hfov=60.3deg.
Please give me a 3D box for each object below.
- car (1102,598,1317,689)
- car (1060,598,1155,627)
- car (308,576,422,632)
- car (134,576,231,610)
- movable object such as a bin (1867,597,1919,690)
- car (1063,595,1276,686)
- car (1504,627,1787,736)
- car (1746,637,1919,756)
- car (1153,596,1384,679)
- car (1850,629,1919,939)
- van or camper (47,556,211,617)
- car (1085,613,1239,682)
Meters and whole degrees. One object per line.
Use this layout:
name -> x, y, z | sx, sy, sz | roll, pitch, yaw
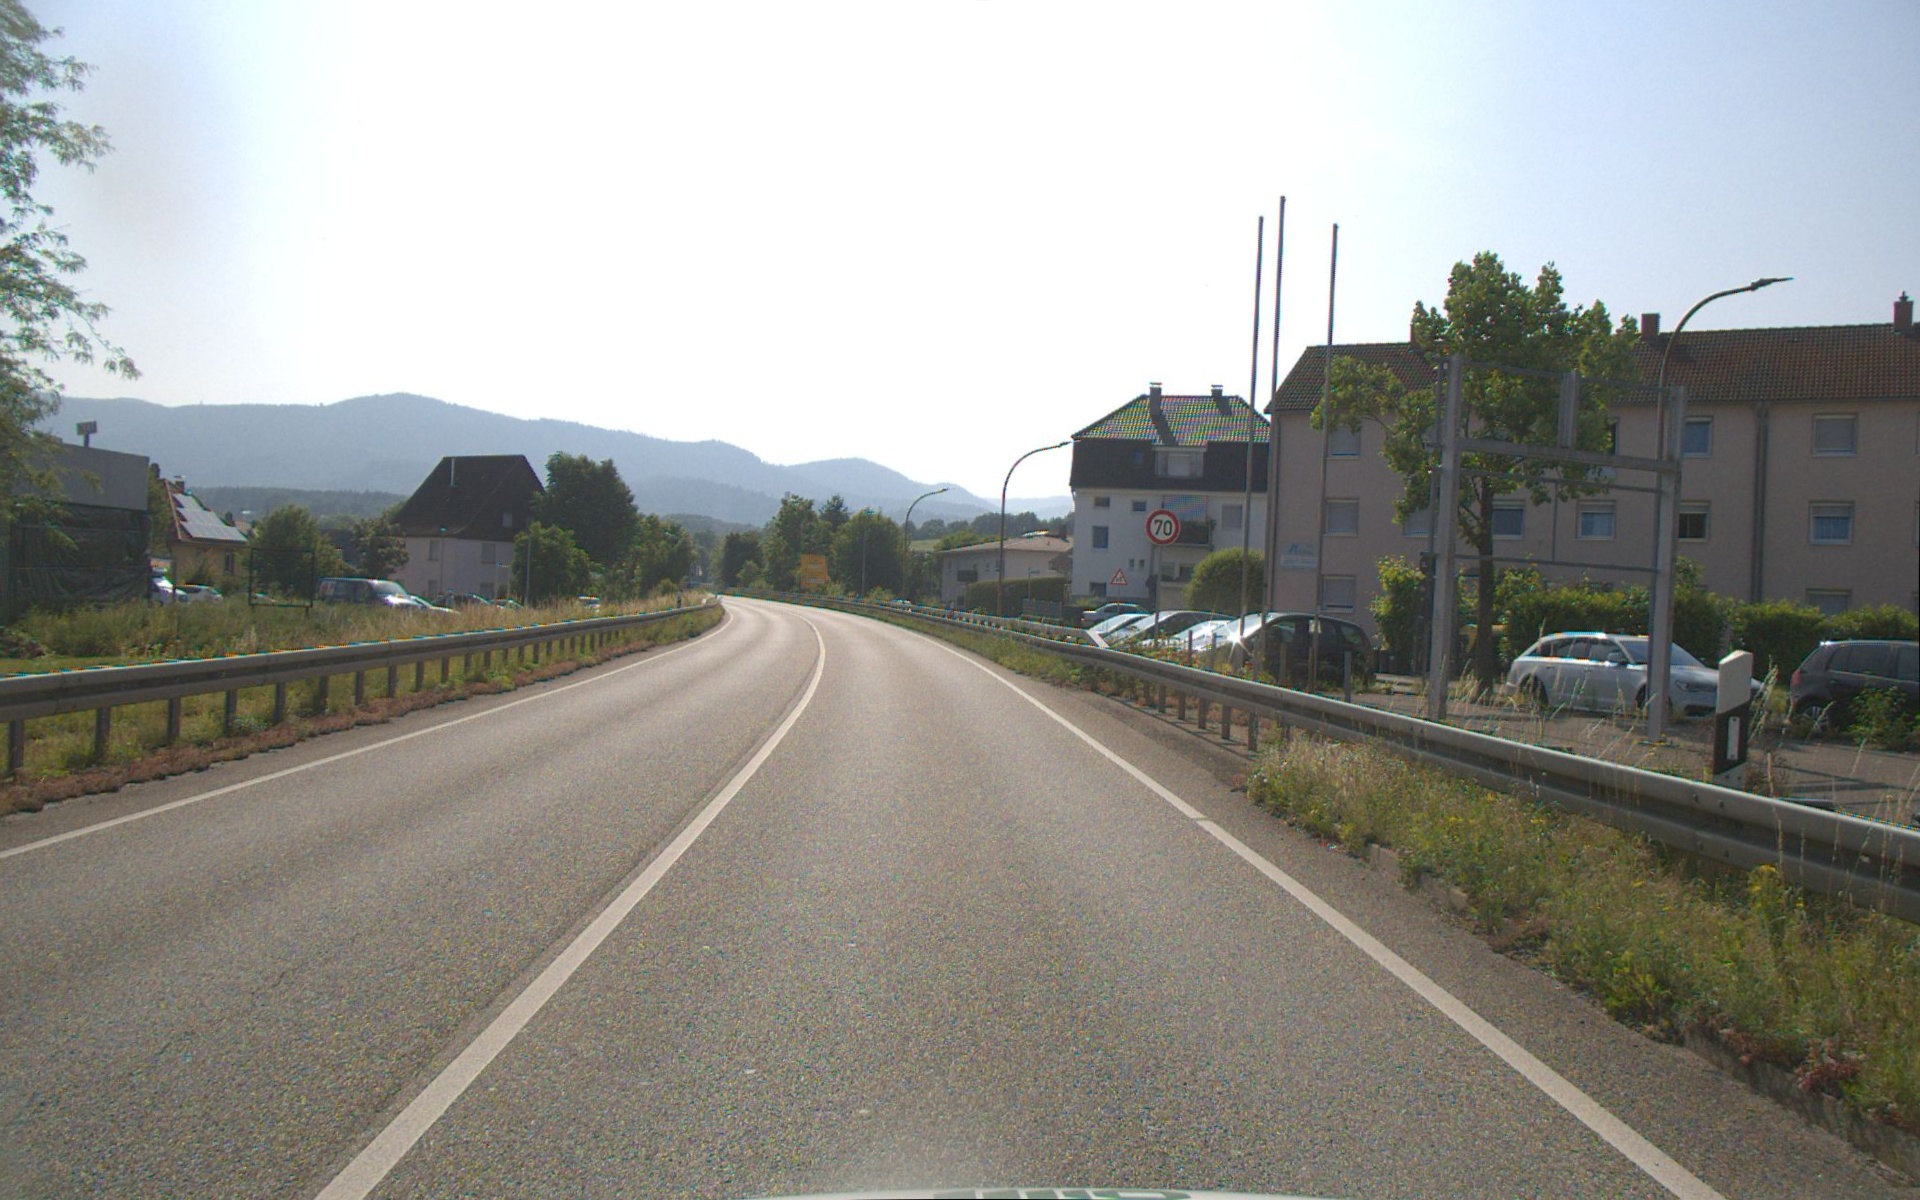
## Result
car -> 5.087, 0.883, 33.869 | 3.919, 1.474, 1.759 | 5, -1, -14
car -> 7.440, 0.619, 83.350 | 4.501, 1.372, 1.755 | 0, 1, 21
car -> -23.339, 0.130, 64.796 | 4.814, 2.049, 1.990 | 1, 0, 40
car -> -43.587, -0.385, 92.777 | 4.464, 1.662, 1.862 | 3, 0, 0
movable object such as a bin -> 26.140, 1.205, 43.788 | 3.467, 2.399, 1.577 | 1, -4, 39
car -> 4.582, 0.877, 36.318 | 4.165, 1.599, 1.910 | 6, -2, -16
car -> 10.882, 1.248, 26.618 | 1.756, 1.444, 4.416 | 1, 0, -18
car -> 12.654, 1.256, 21.470 | 1.681, 1.430, 4.453 | 1, 0, -23
car -> 5.861, 0.714, 31.478 | 3.996, 1.477, 1.719 | 1, -1, -20
car -> 6.741, 1.006, 7.756 | 4.063, 1.508, 1.883 | 3, 0, 3
van or camper -> -44.348, -0.693, 88.413 | 7.243, 2.892, 2.747 | 2, 0, 0
car -> 4.751, 1.119, 39.058 | 3.210, 1.400, 1.543 | 4, -2, -16
